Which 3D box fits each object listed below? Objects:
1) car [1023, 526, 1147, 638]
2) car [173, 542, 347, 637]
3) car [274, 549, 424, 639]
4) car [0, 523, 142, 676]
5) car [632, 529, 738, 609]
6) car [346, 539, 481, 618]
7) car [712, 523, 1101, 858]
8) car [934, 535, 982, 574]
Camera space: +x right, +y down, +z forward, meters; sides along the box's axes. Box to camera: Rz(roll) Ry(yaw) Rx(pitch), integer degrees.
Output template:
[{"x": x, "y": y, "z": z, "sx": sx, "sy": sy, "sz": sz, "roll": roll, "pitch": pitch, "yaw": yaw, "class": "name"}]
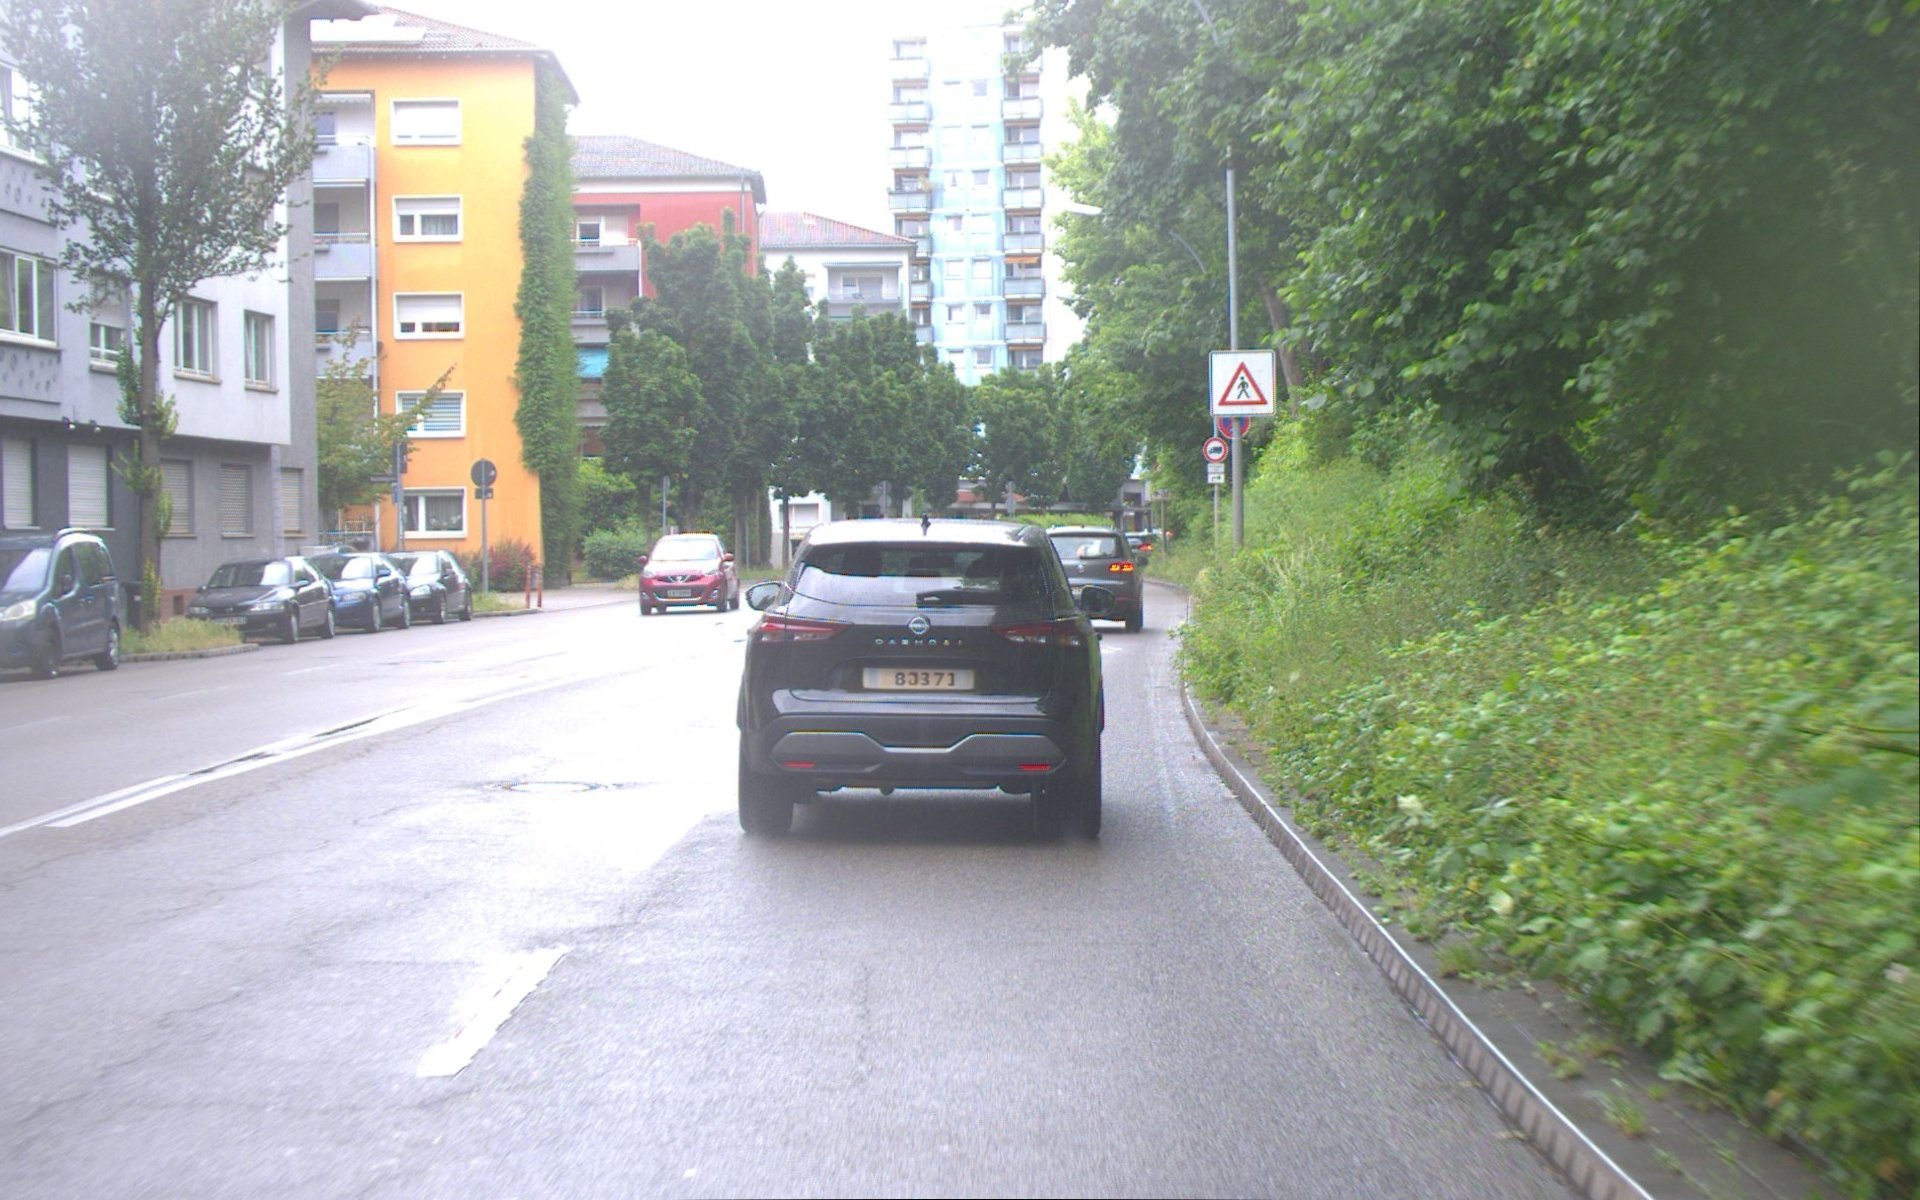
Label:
[{"x": 2.000, "y": -0.296, "z": 54.442, "sx": 1.887, "sy": 1.705, "sz": 4.000, "roll": 0, "pitch": 1, "yaw": 3, "class": "car"}, {"x": -11.209, "y": -0.197, "z": 55.348, "sx": 1.688, "sy": 1.353, "sz": 4.579, "roll": -4, "pitch": 1, "yaw": 2, "class": "car"}, {"x": -10.823, "y": -0.132, "z": 61.171, "sx": 1.680, "sy": 1.444, "sz": 4.276, "roll": -3, "pitch": 1, "yaw": 2, "class": "car"}, {"x": -11.610, "y": -0.011, "z": 42.158, "sx": 1.891, "sy": 1.760, "sz": 4.600, "roll": -2, "pitch": 1, "yaw": 2, "class": "car"}, {"x": -5.326, "y": -0.610, "z": 66.935, "sx": 1.706, "sy": 1.473, "sz": 3.680, "roll": -1, "pitch": 1, "yaw": 1, "class": "car"}, {"x": -10.605, "y": -0.445, "z": 66.948, "sx": 1.712, "sy": 1.421, "sz": 4.322, "roll": -3, "pitch": 1, "yaw": 2, "class": "car"}, {"x": -0.194, "y": 0.393, "z": 18.451, "sx": 1.845, "sy": 1.577, "sz": 4.000, "roll": 1, "pitch": 1, "yaw": 2, "class": "car"}, {"x": -0.071, "y": -1.873, "z": 140.570, "sx": 1.788, "sy": 1.499, "sz": 4.649, "roll": -2, "pitch": 1, "yaw": 1, "class": "car"}]
